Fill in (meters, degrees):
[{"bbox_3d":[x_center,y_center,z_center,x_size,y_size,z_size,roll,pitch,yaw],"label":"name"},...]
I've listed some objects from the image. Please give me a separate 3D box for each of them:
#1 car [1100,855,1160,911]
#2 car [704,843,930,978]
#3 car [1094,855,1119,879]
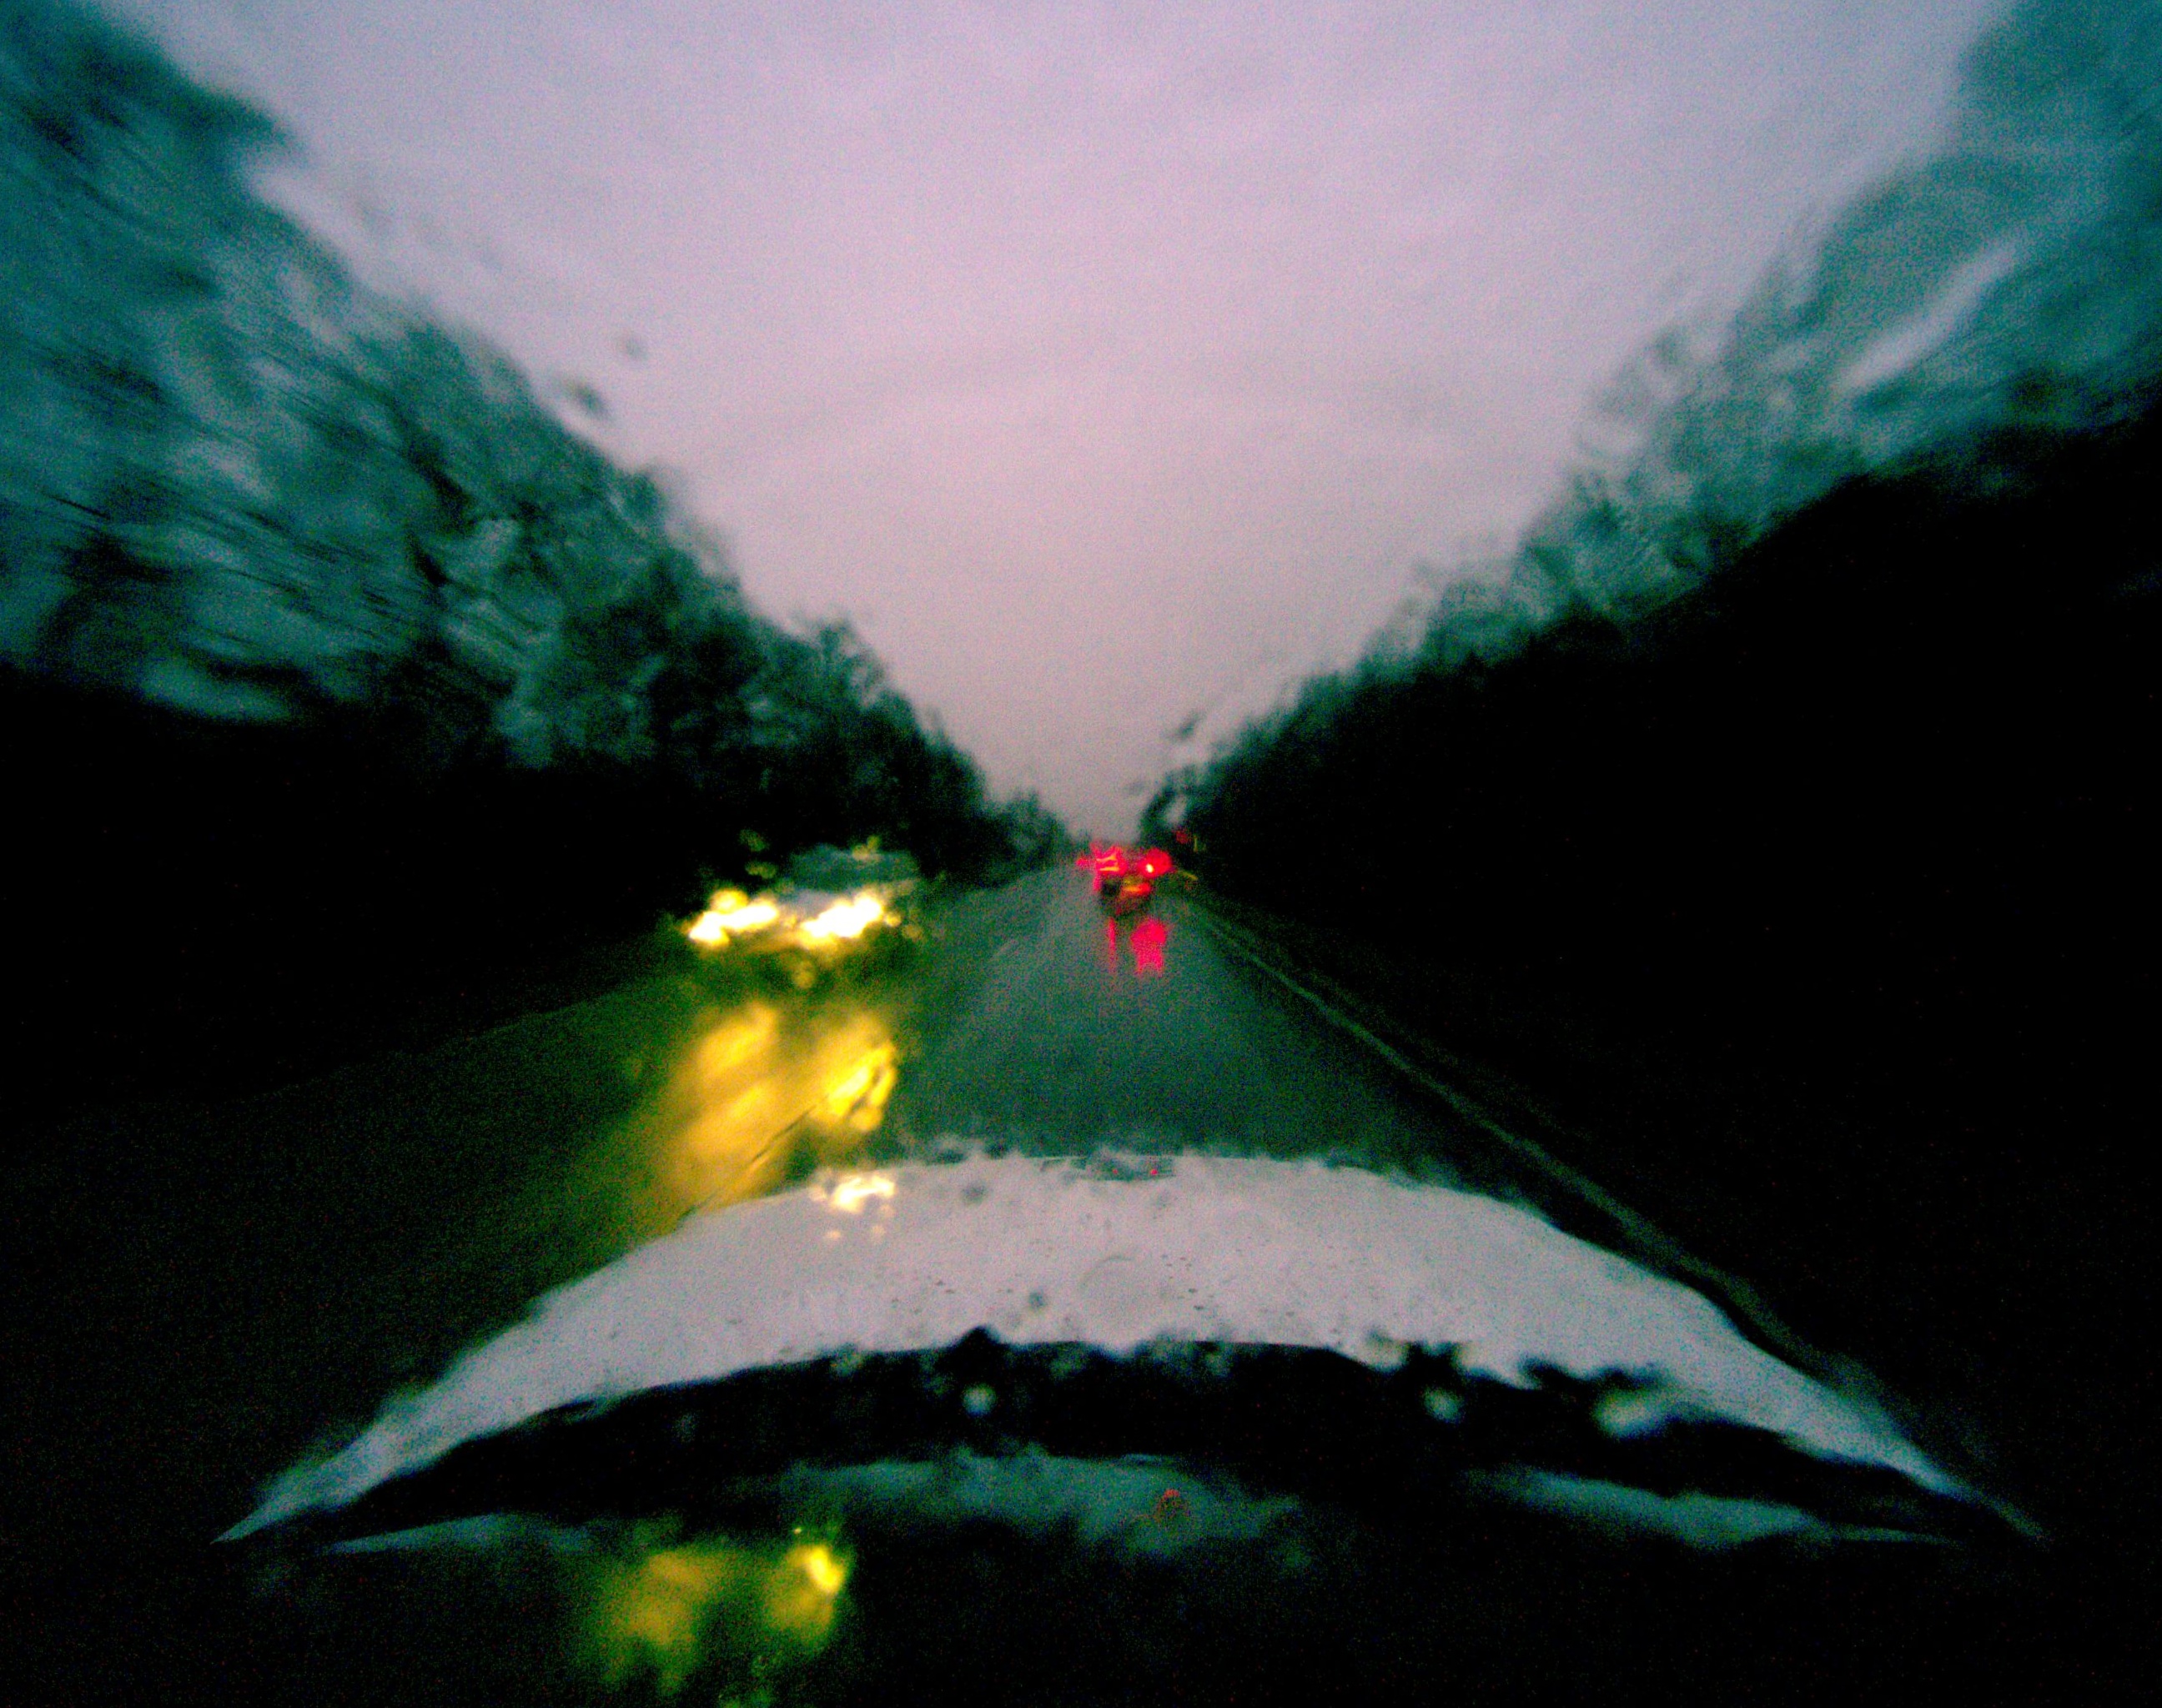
[{"bbox_3d":[1.538,0.858,25.828,1.720,1.643,4.003,-1,0,3],"label":"car"},{"bbox_3d":[-3.604,0.681,12.020,1.865,1.607,4.197,-1,0,1],"label":"car"},{"bbox_3d":[1.937,0.949,60.569,1.720,1.643,4.003,-1,0,3],"label":"car"}]
